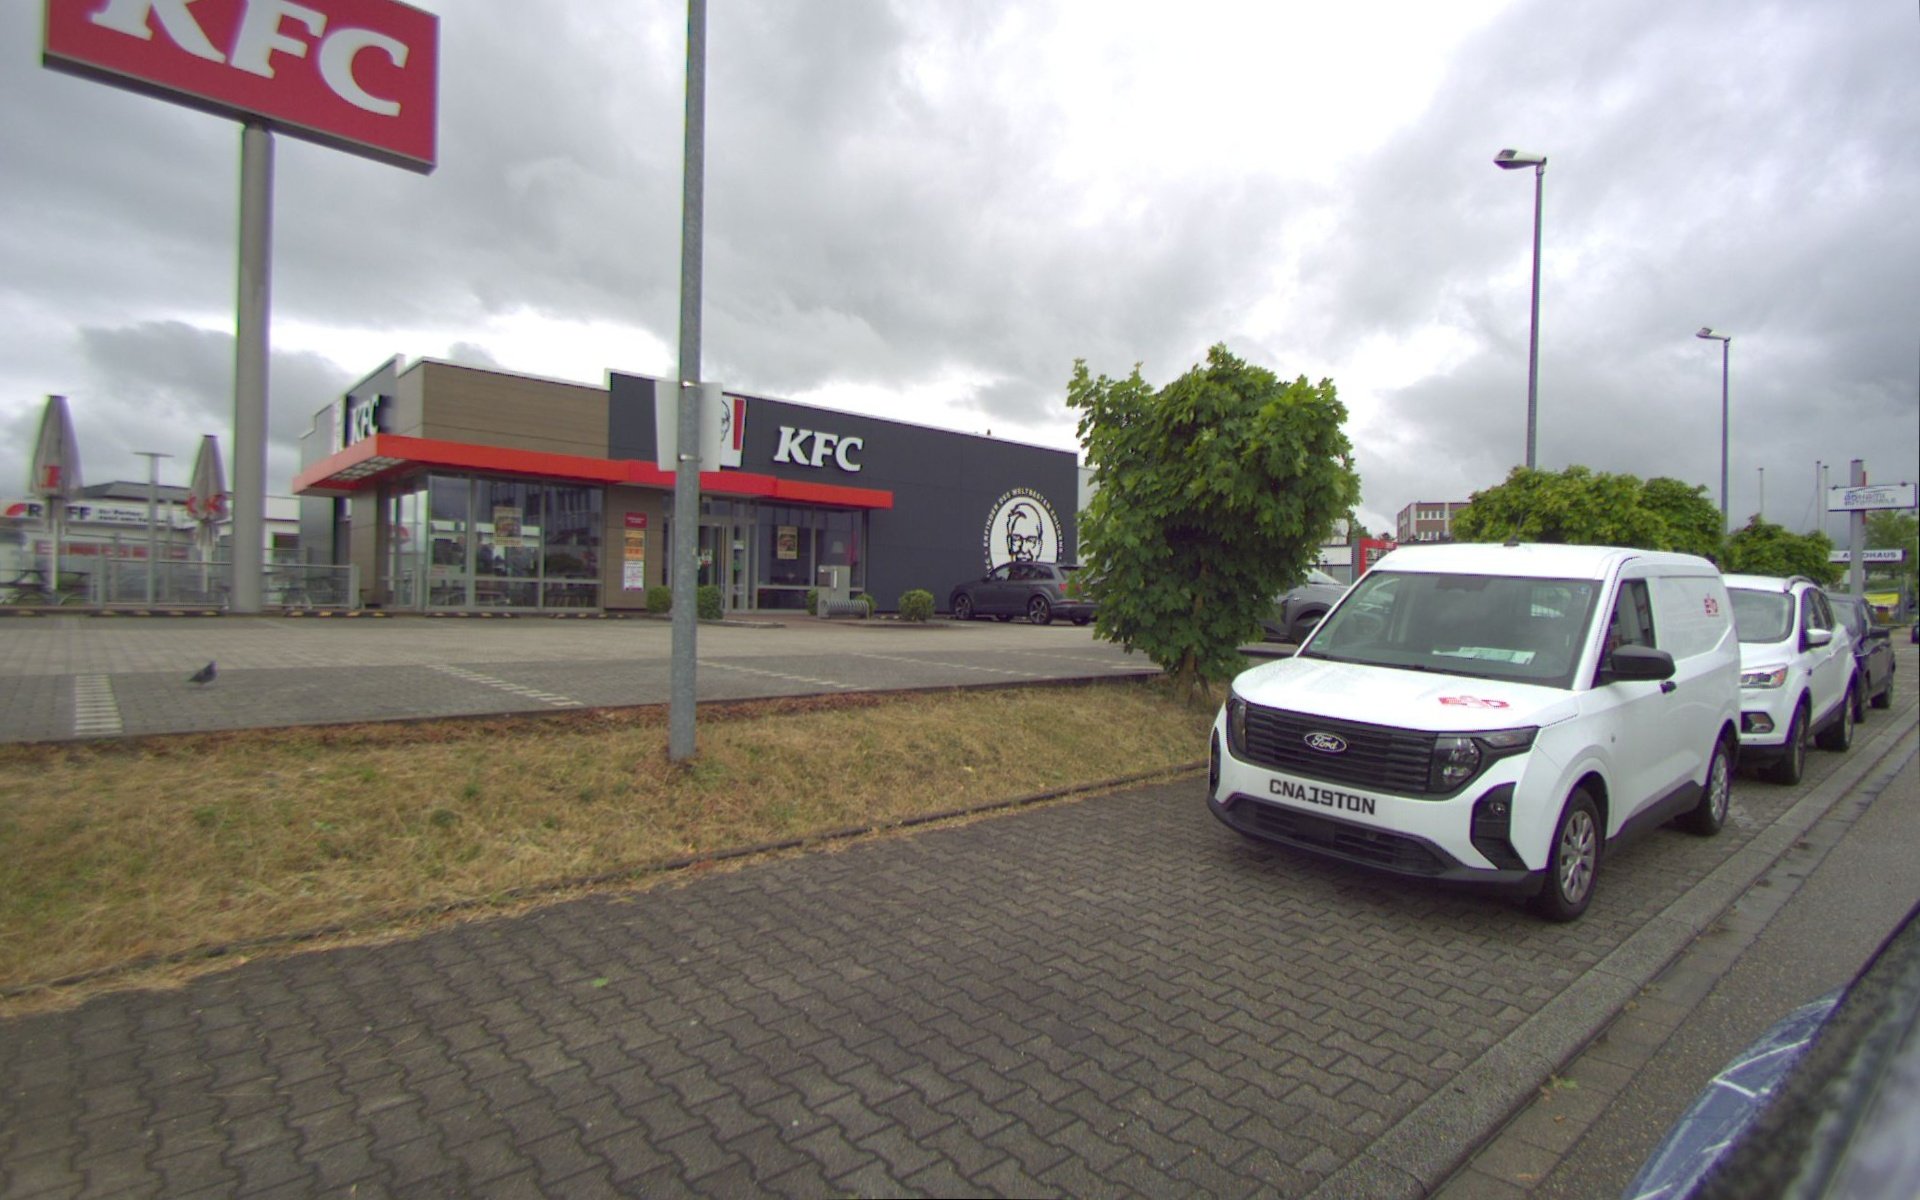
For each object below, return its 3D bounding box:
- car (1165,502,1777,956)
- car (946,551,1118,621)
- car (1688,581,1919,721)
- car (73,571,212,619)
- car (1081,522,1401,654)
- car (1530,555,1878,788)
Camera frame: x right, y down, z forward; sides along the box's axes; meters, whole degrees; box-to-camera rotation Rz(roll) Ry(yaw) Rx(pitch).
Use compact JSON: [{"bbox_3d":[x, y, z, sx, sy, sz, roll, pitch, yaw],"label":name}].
[{"bbox_3d":[3.264,0.451,6.063,4.175,1.805,1.796,-1,3,-41],"label":"car"},{"bbox_3d":[1.906,-0.402,28.122,4.729,1.762,1.862,1,1,45],"label":"car"},{"bbox_3d":[11.474,0.557,13.659,3.930,1.618,1.821,-1,1,-41],"label":"car"},{"bbox_3d":[-30.717,-0.214,38.078,3.934,1.701,1.952,0,1,-44],"label":"car"},{"bbox_3d":[4.217,-0.202,15.725,4.489,1.762,1.862,1,1,45],"label":"car"},{"bbox_3d":[7.100,0.501,9.517,3.930,1.730,1.821,-1,1,-41],"label":"car"}]
